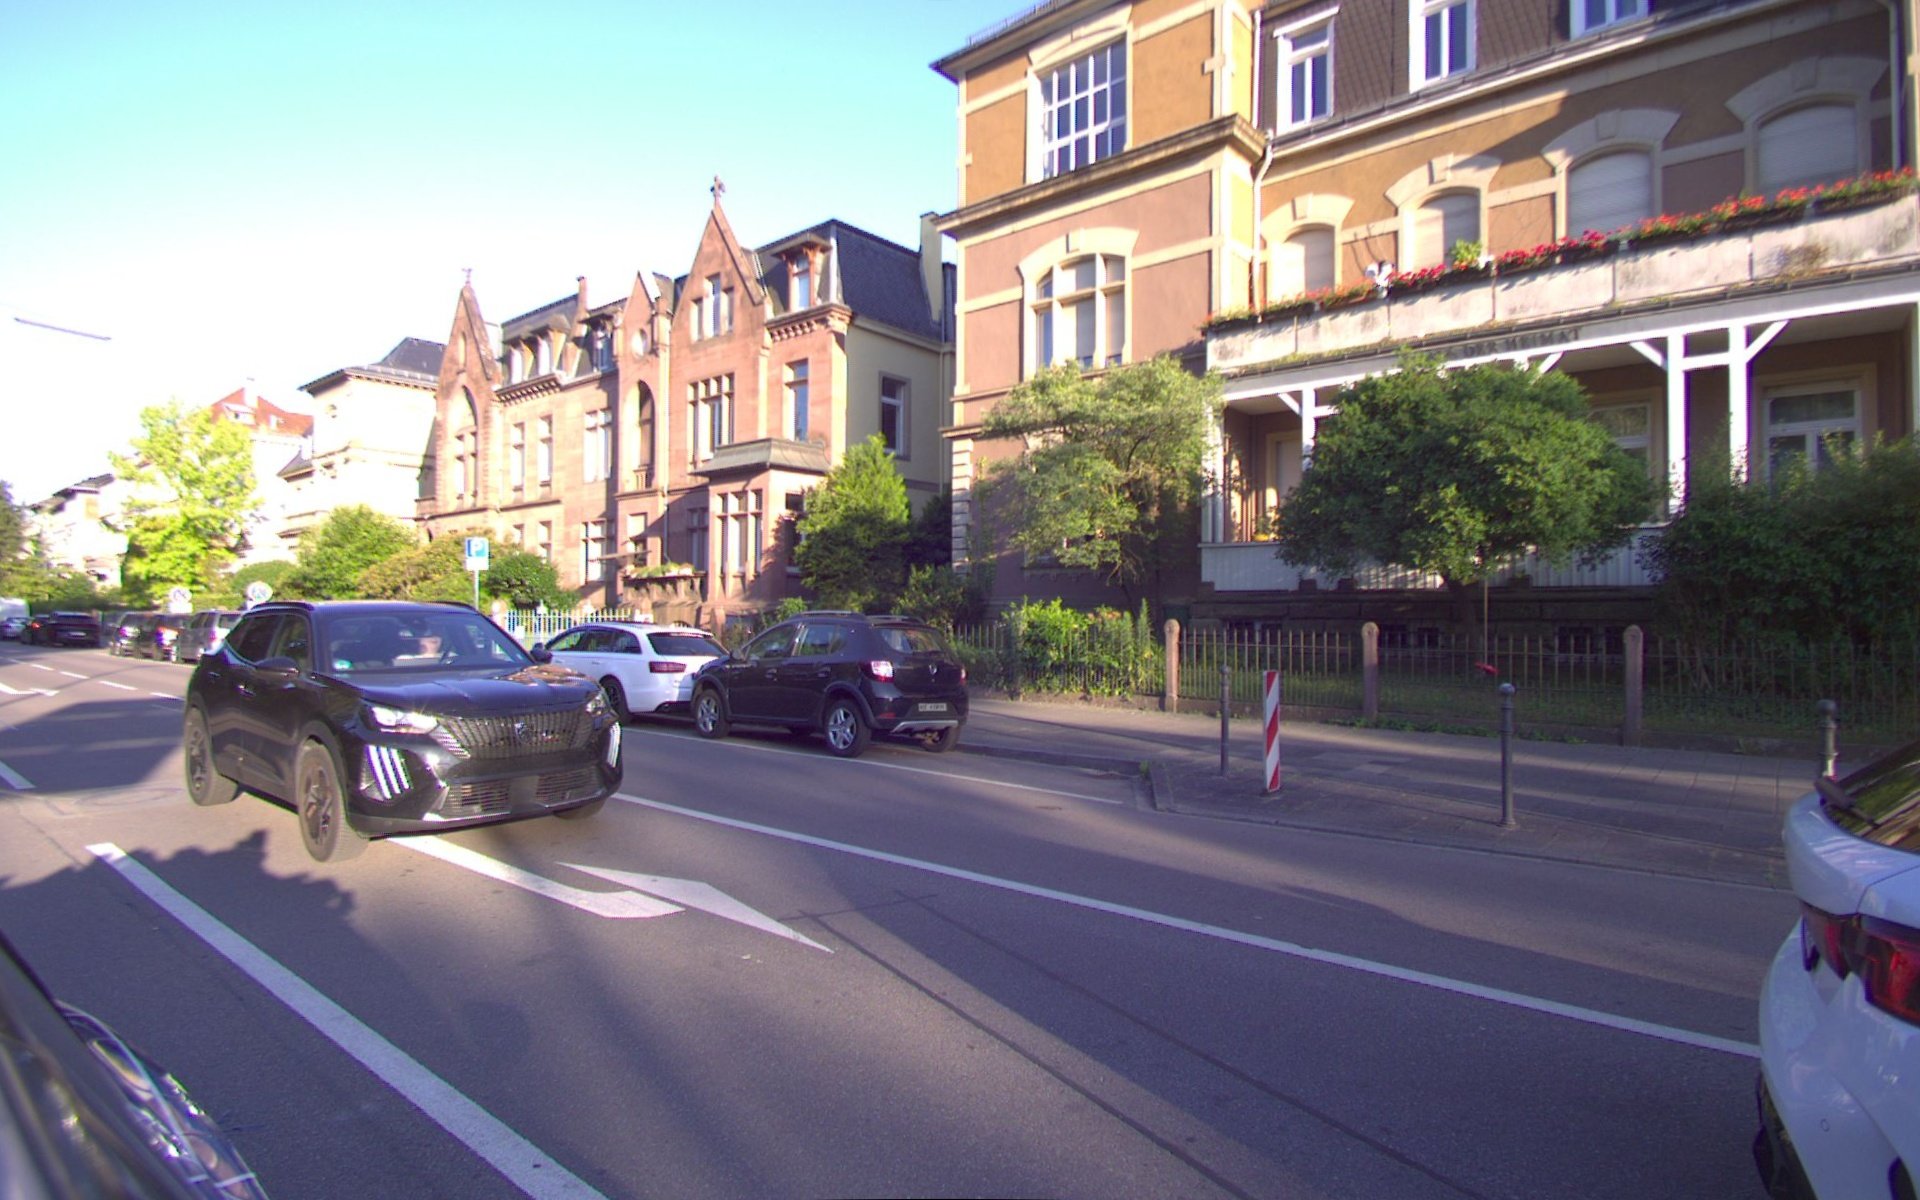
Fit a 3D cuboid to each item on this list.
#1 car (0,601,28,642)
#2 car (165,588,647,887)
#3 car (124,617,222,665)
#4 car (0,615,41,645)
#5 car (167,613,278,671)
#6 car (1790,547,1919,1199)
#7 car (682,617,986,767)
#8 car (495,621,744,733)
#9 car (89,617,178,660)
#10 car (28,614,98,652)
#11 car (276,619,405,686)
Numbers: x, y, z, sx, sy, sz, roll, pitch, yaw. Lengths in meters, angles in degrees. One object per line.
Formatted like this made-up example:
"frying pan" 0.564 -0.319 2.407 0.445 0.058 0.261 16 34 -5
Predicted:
"car" -58.235 1.303 61.014 5.874 2.387 2.203 -1 -3 40
"car" -4.081 0.755 7.180 3.997 1.547 1.661 -1 -2 40
"car" -25.578 1.306 32.846 3.719 1.461 1.694 -1 -3 39
"car" -52.826 1.655 56.589 3.852 1.617 1.693 -1 -3 42
"car" -21.592 1.197 29.582 3.749 1.601 1.694 -1 -3 39
"car" 3.446 0.653 0.884 4.185 1.477 1.734 -1 -2 40
"car" -1.632 1.035 12.364 3.722 1.546 1.610 -1 -5 43
"car" -5.253 1.087 15.295 4.432 1.454 1.587 -1 -5 43
"car" -29.253 1.342 35.798 3.719 1.461 1.694 -1 -3 39
"car" -39.994 1.445 45.102 3.721 1.617 1.856 -1 -3 41
"car" -14.487 1.181 23.613 3.566 1.456 1.610 -1 -3 43
